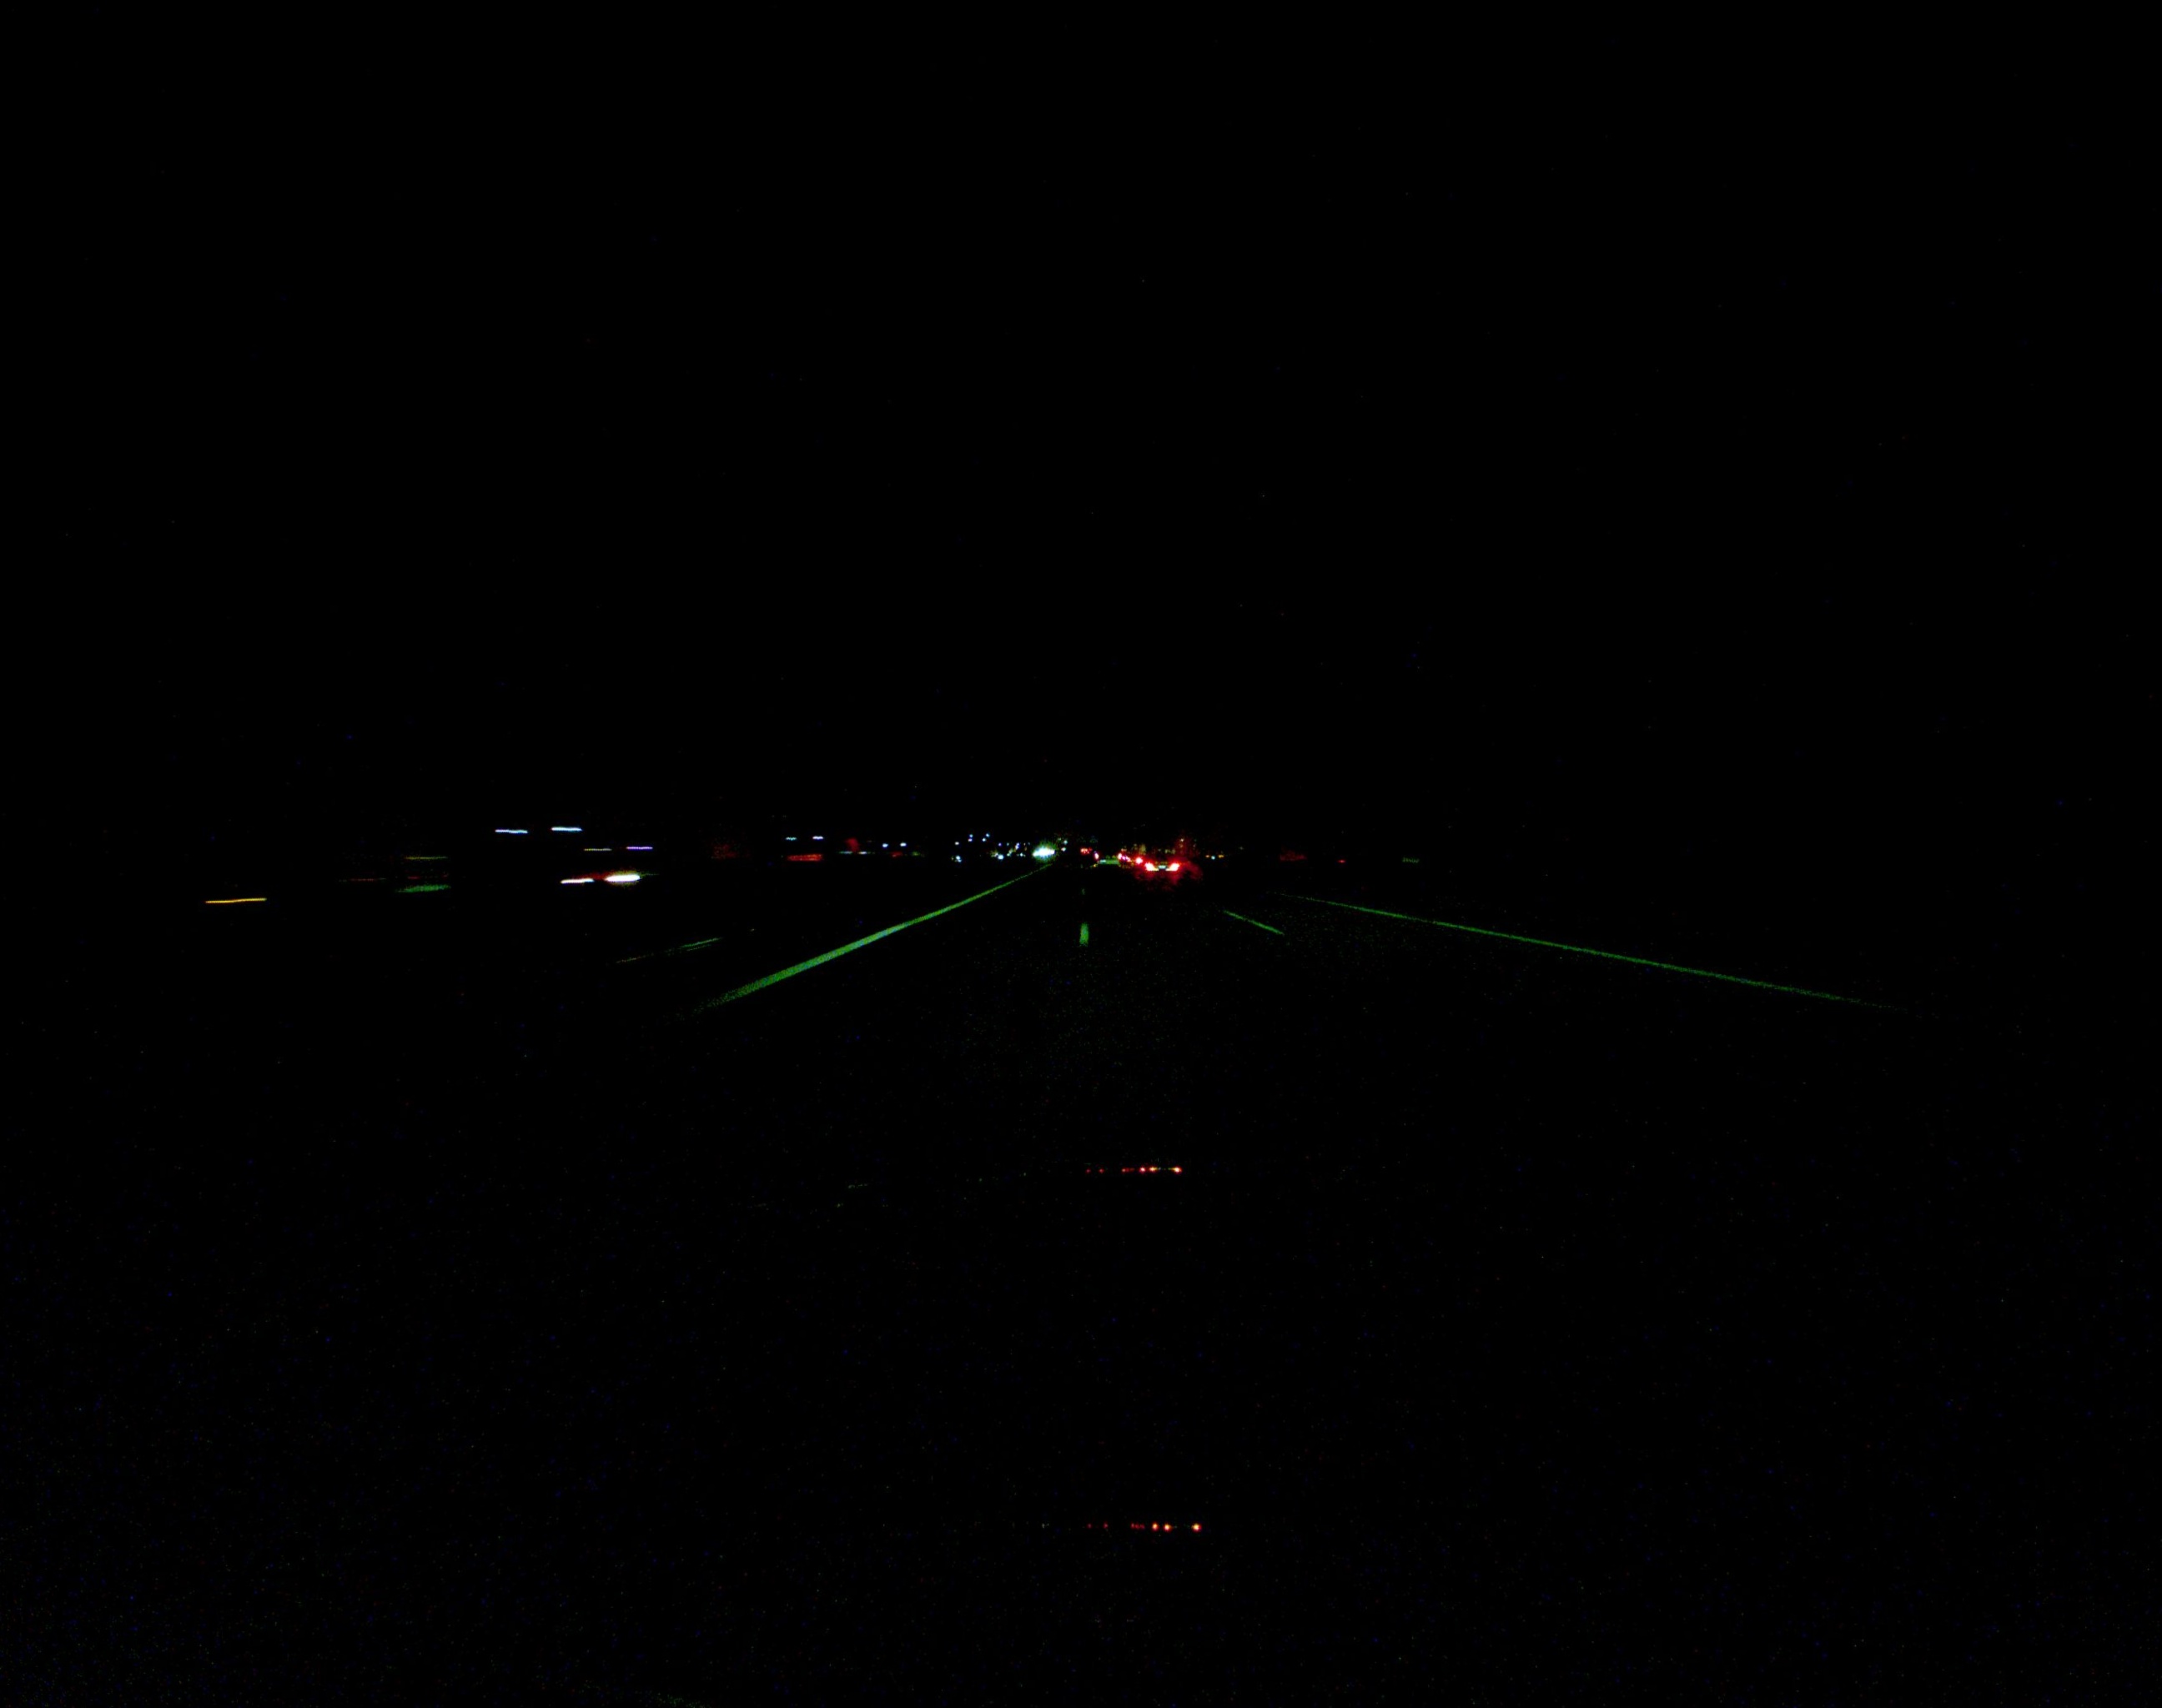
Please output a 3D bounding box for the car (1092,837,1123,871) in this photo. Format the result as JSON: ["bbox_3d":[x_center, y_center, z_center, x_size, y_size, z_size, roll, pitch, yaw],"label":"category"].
[{"bbox_3d":[2.194,0.045,65.235,2.327,2.640,5.251,-1,-1,3],"label":"car"}]

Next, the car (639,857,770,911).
[{"bbox_3d":[-10.558,0.780,23.169,1.563,1.354,4.006,-1,0,5],"label":"car"}]

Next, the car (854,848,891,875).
[{"bbox_3d":[-21.733,0.739,85.224,2.307,2.718,6.355,1,0,-1],"label":"car"}]

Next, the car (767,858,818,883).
[{"bbox_3d":[-17.036,0.973,48.260,1.565,1.354,4.000,-1,0,0],"label":"car"}]

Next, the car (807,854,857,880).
[{"bbox_3d":[-13.765,0.689,45.233,1.565,1.354,3.999,-1,0,0],"label":"car"}]

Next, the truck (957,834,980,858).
[{"bbox_3d":[-17.490,-1.229,127.108,2.867,3.673,6.045,0,0,-2],"label":"truck"}]

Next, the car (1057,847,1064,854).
[{"bbox_3d":[-6.040,-1.072,239.027,1.990,2.013,3.994,-1,0,-4],"label":"car"}]

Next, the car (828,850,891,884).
[{"bbox_3d":[-9.423,0.528,34.939,1.565,1.354,4.000,-1,0,0],"label":"car"}]

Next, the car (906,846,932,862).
[{"bbox_3d":[-17.761,0.059,89.586,1.988,1.646,4.311,1,-1,-1],"label":"car"}]

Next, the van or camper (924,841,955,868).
[{"bbox_3d":[-14.778,0.004,85.258,2.078,2.632,7.599,-1,0,-2],"label":"van or camper"}]

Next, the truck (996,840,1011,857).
[{"bbox_3d":[-18.296,-1.288,192.339,2.851,3.687,6.601,1,-1,0],"label":"truck"}]

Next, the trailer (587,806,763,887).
[{"bbox_3d":[-21.279,-0.354,44.082,2.873,3.675,13.129,-1,0,0],"label":"trailer"}]

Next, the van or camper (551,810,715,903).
[{"bbox_3d":[-17.661,0.081,32.797,2.424,3.272,7.393,-1,0,0],"label":"van or camper"}]

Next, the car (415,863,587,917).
[{"bbox_3d":[-17.050,0.995,24.280,1.564,1.354,4.646,-1,0,3],"label":"car"}]

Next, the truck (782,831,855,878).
[{"bbox_3d":[-17.927,0.064,56.124,2.548,2.986,7.451,-1,-1,0],"label":"truck"}]

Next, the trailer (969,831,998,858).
[{"bbox_3d":[-13.917,-1.260,117.269,2.877,3.671,12.211,1,-1,-1],"label":"trailer"}]

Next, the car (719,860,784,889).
[{"bbox_3d":[-17.068,1.047,42.417,1.709,1.354,4.000,-1,0,0],"label":"car"}]

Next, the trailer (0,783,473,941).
[{"bbox_3d":[-21.900,0.178,22.171,2.386,3.211,11.176,0,0,0],"label":"trailer"}]

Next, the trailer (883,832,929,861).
[{"bbox_3d":[-22.002,-0.873,103.511,2.950,3.442,13.435,0,0,0],"label":"trailer"}]

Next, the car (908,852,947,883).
[{"bbox_3d":[-10.464,0.930,55.829,1.988,2.014,3.998,1,-1,-1],"label":"car"}]

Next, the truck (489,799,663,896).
[{"bbox_3d":[-21.216,-0.257,34.857,2.873,3.675,7.262,-1,0,0],"label":"truck"}]

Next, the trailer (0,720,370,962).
[{"bbox_3d":[-17.367,-0.179,12.774,2.385,3.627,11.183,0,0,1],"label":"trailer"}]

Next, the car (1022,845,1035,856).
[{"bbox_3d":[-9.977,-0.707,156.082,1.986,2.014,5.326,1,-1,1],"label":"car"}]

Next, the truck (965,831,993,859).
[{"bbox_3d":[-13.861,-1.138,111.057,2.865,3.674,6.777,1,-1,-1],"label":"truck"}]

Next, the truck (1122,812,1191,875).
[{"bbox_3d":[6.290,-0.679,72.894,3.903,4.627,21.011,-3,-1,0],"label":"truck"}]

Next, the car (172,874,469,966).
[{"bbox_3d":[-13.830,1.125,15.188,1.563,1.354,4.006,-1,0,5],"label":"car"}]

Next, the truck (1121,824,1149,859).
[{"bbox_3d":[7.270,-1.662,111.630,3.331,4.475,13.917,0,1,2],"label":"truck"}]

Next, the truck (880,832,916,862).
[{"bbox_3d":[-22.033,-0.840,98.320,2.950,3.442,6.361,0,0,0],"label":"truck"}]

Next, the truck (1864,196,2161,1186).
[{"bbox_3d":[5.851,-0.685,0.824,2.852,4.076,7.512,-3,0,1],"label":"truck"}]
